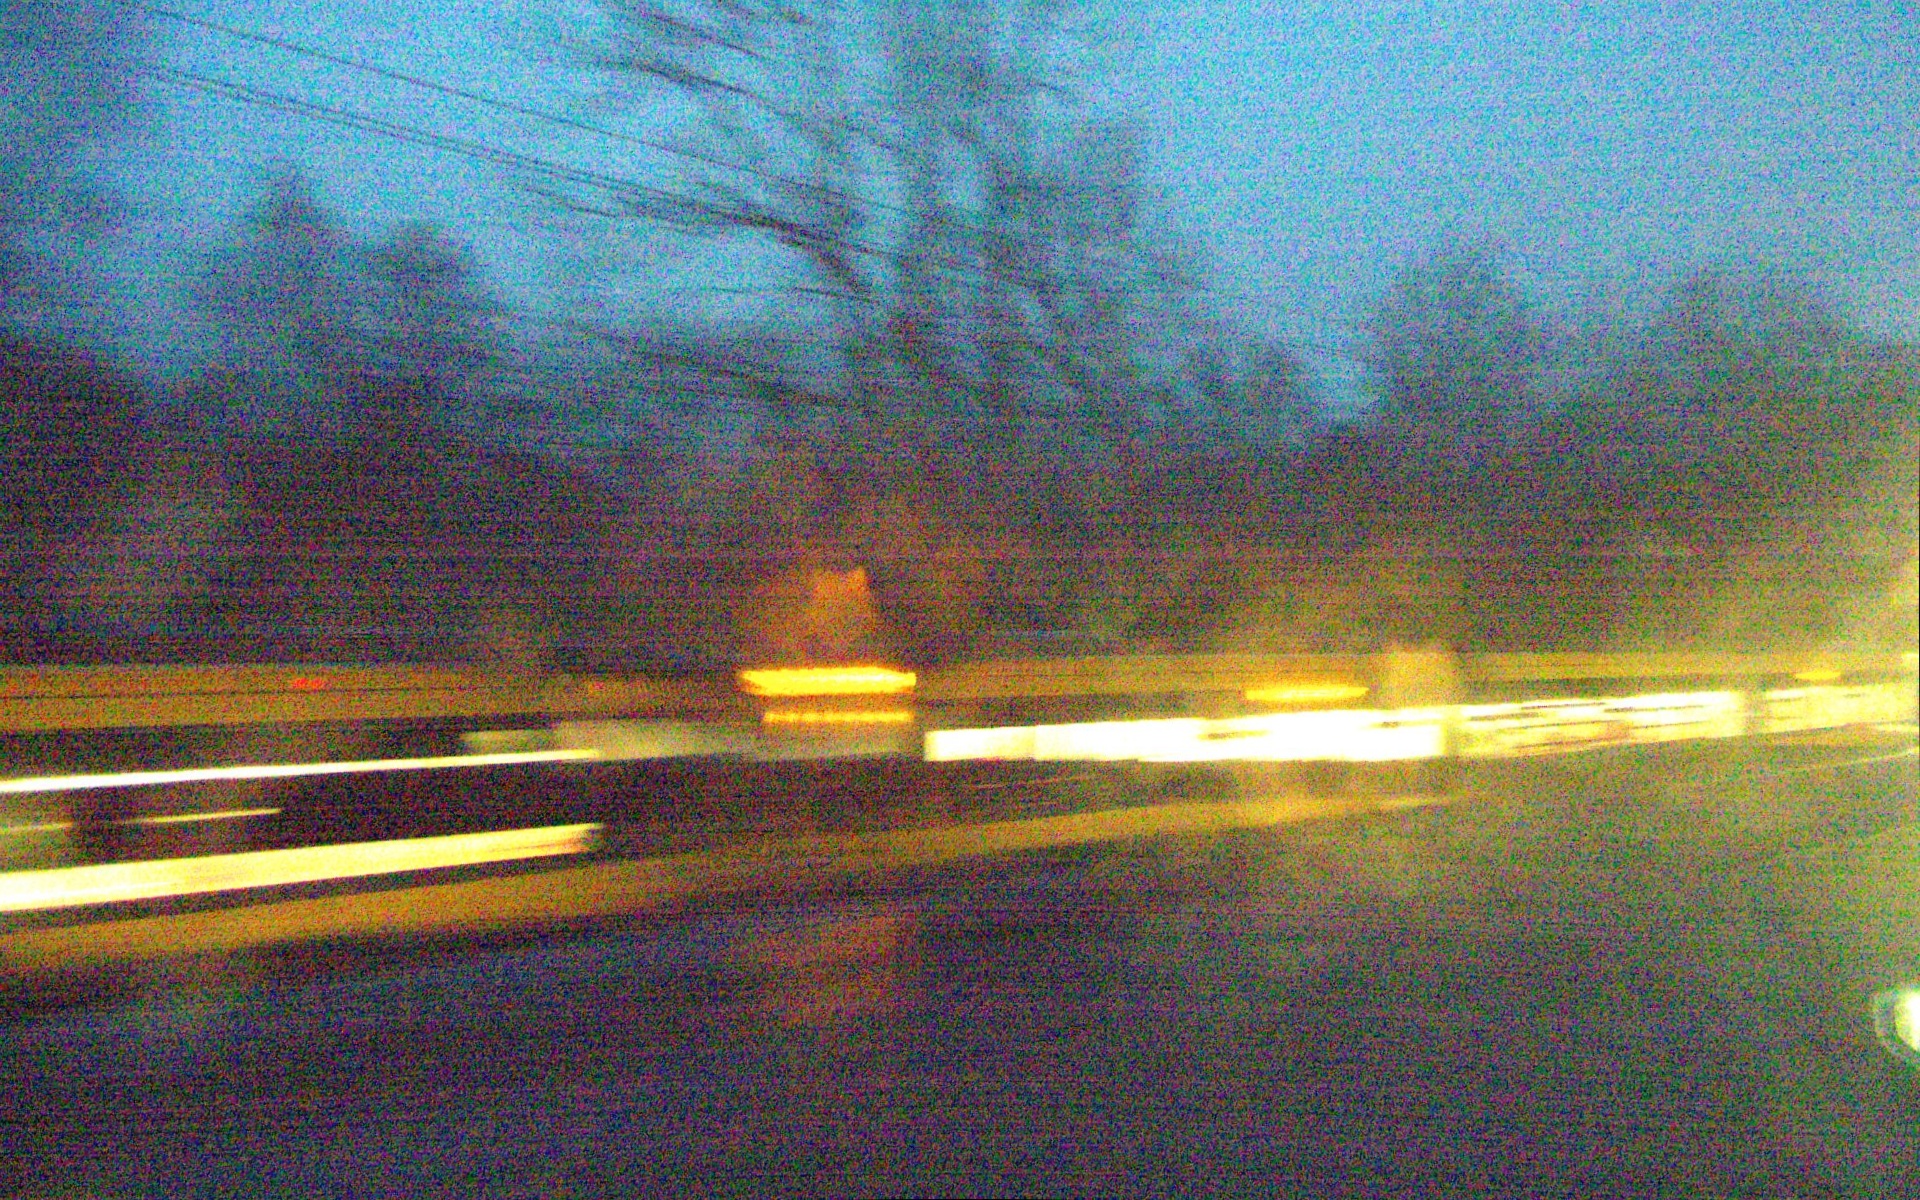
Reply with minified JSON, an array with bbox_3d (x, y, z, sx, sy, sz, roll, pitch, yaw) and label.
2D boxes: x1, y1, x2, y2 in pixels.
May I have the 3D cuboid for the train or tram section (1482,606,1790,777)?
[{"bbox_3d":[16.363,1.976,24.078,8.455,3.506,2.829,1,0,-31],"label":"train or tram section"}]

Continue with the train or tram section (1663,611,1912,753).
[{"bbox_3d":[23.591,2.142,28.490,8.455,3.506,2.829,1,0,-31],"label":"train or tram section"}]

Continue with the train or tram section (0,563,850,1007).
[{"bbox_3d":[-5.631,1.519,10.762,8.455,3.506,2.829,1,0,-31],"label":"train or tram section"}]

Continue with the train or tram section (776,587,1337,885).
[{"bbox_3d":[1.742,1.685,15.238,8.455,3.506,2.829,1,0,-31],"label":"train or tram section"}]

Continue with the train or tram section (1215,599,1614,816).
[{"bbox_3d":[9.081,1.813,19.641,8.455,3.506,2.829,1,0,-31],"label":"train or tram section"}]
